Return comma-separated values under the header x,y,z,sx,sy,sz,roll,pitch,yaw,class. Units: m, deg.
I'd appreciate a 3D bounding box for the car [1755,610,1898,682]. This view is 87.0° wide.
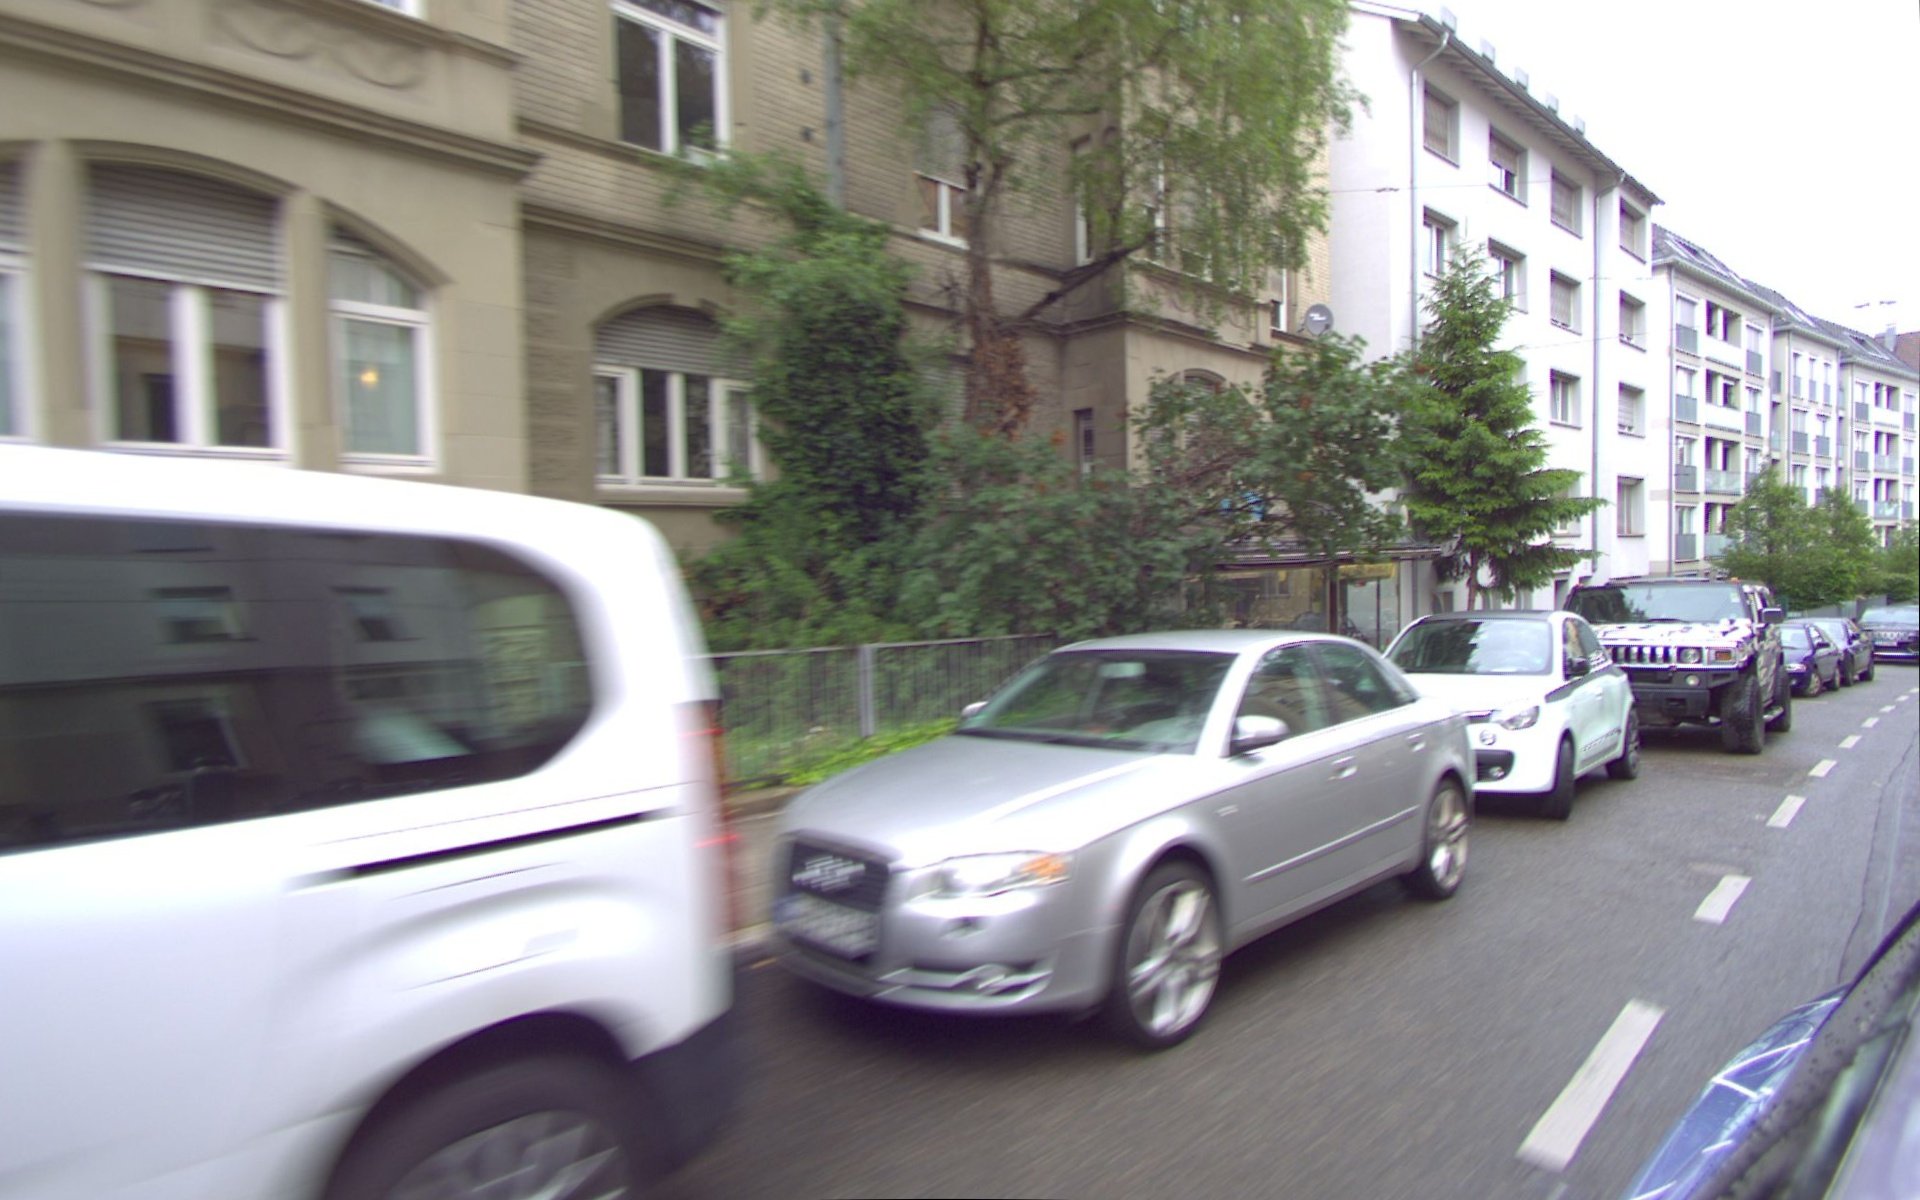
x,y,z,sx,sy,sz,roll,pitch,yaw,class
19.551,0.948,22.763,4.530,1.455,1.797,0,-1,-41,car

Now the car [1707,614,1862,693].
x,y,z,sx,sy,sz,roll,pitch,yaw,class
16.014,0.966,19.599,3.814,1.355,1.681,0,-1,-41,car

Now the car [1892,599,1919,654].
x,y,z,sx,sy,sz,roll,pitch,yaw,class
33.755,0.899,34.982,4.392,1.818,1.781,0,0,-41,car

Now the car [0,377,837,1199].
x,y,z,sx,sy,sz,roll,pitch,yaw,class
-2.444,0.610,1.418,1.797,1.788,4.392,-2,-2,43,car

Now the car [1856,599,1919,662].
x,y,z,sx,sy,sz,roll,pitch,yaw,class
29.417,0.893,31.320,4.737,1.818,1.945,0,0,-42,car

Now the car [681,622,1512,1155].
x,y,z,sx,sy,sz,roll,pitch,yaw,class
1.047,0.850,4.996,4.405,1.418,1.749,0,-2,-45,car

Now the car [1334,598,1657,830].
x,y,z,sx,sy,sz,roll,pitch,yaw,class
4.716,0.797,8.691,1.559,1.566,3.528,-2,-2,43,car

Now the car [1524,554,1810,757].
x,y,z,sx,sy,sz,roll,pitch,yaw,class
9.124,0.588,12.834,2.128,2.040,5.265,-2,-2,44,car
